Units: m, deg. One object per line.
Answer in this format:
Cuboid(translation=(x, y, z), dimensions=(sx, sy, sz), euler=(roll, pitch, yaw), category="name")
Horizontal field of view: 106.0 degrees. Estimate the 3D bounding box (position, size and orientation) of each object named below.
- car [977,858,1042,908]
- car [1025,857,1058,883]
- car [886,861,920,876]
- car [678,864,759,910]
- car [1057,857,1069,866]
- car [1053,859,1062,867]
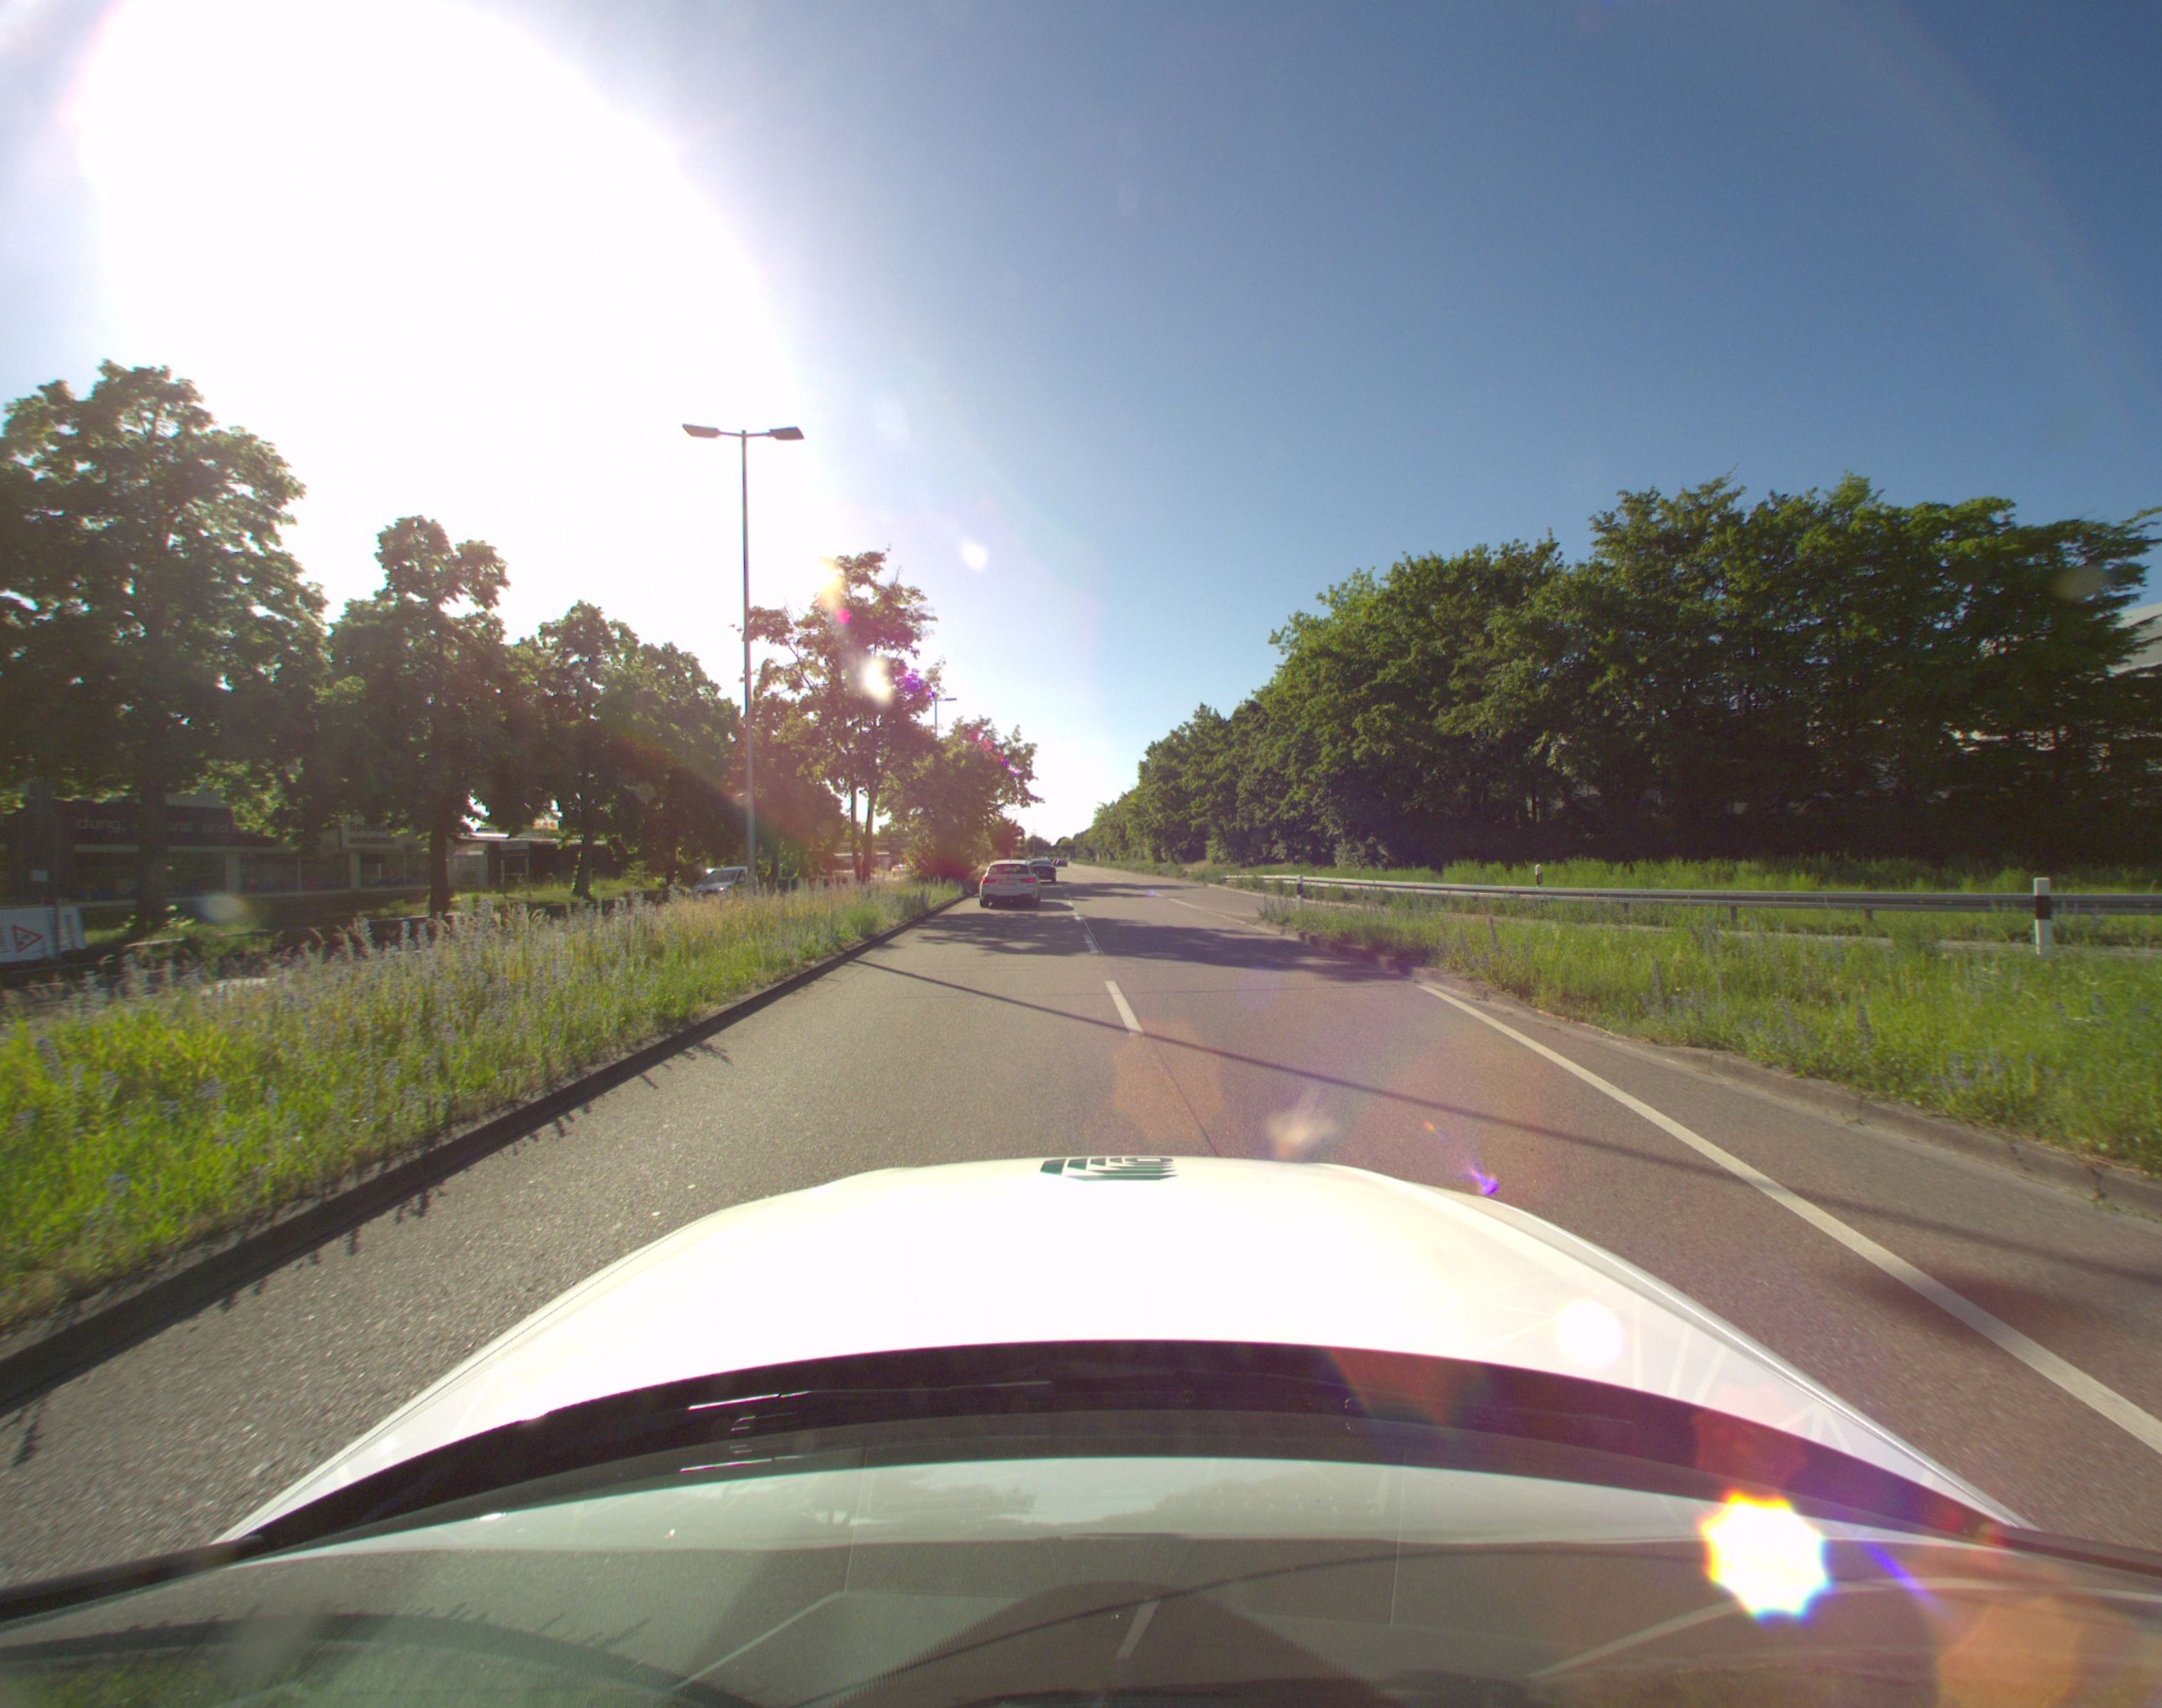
Cuboid(translation=(-2.225, 0.870, 26.336), dimensions=(1.857, 1.455, 4.543), euler=(-1, 0, -2), category="car")
Cuboid(translation=(-2.414, 0.933, 49.877), dimensions=(1.857, 1.455, 4.542), euler=(-2, 0, -3), category="car")
Cuboid(translation=(-21.896, 1.779, 100.003), dimensions=(4.071, 1.662, 1.905), euler=(-2, 0, 40), category="car")
Cuboid(translation=(-15.056, 1.325, 34.057), dimensions=(1.703, 1.746, 4.160), euler=(-2, 0, -4), category="car")
Cuboid(translation=(-3.096, 1.237, 138.376), dimensions=(1.857, 1.499, 4.331), euler=(-2, 0, -3), category="car")
Cuboid(translation=(-4.693, 1.715, 162.411), dimensions=(1.768, 1.555, 3.827), euler=(-2, 0, -4), category="car")
